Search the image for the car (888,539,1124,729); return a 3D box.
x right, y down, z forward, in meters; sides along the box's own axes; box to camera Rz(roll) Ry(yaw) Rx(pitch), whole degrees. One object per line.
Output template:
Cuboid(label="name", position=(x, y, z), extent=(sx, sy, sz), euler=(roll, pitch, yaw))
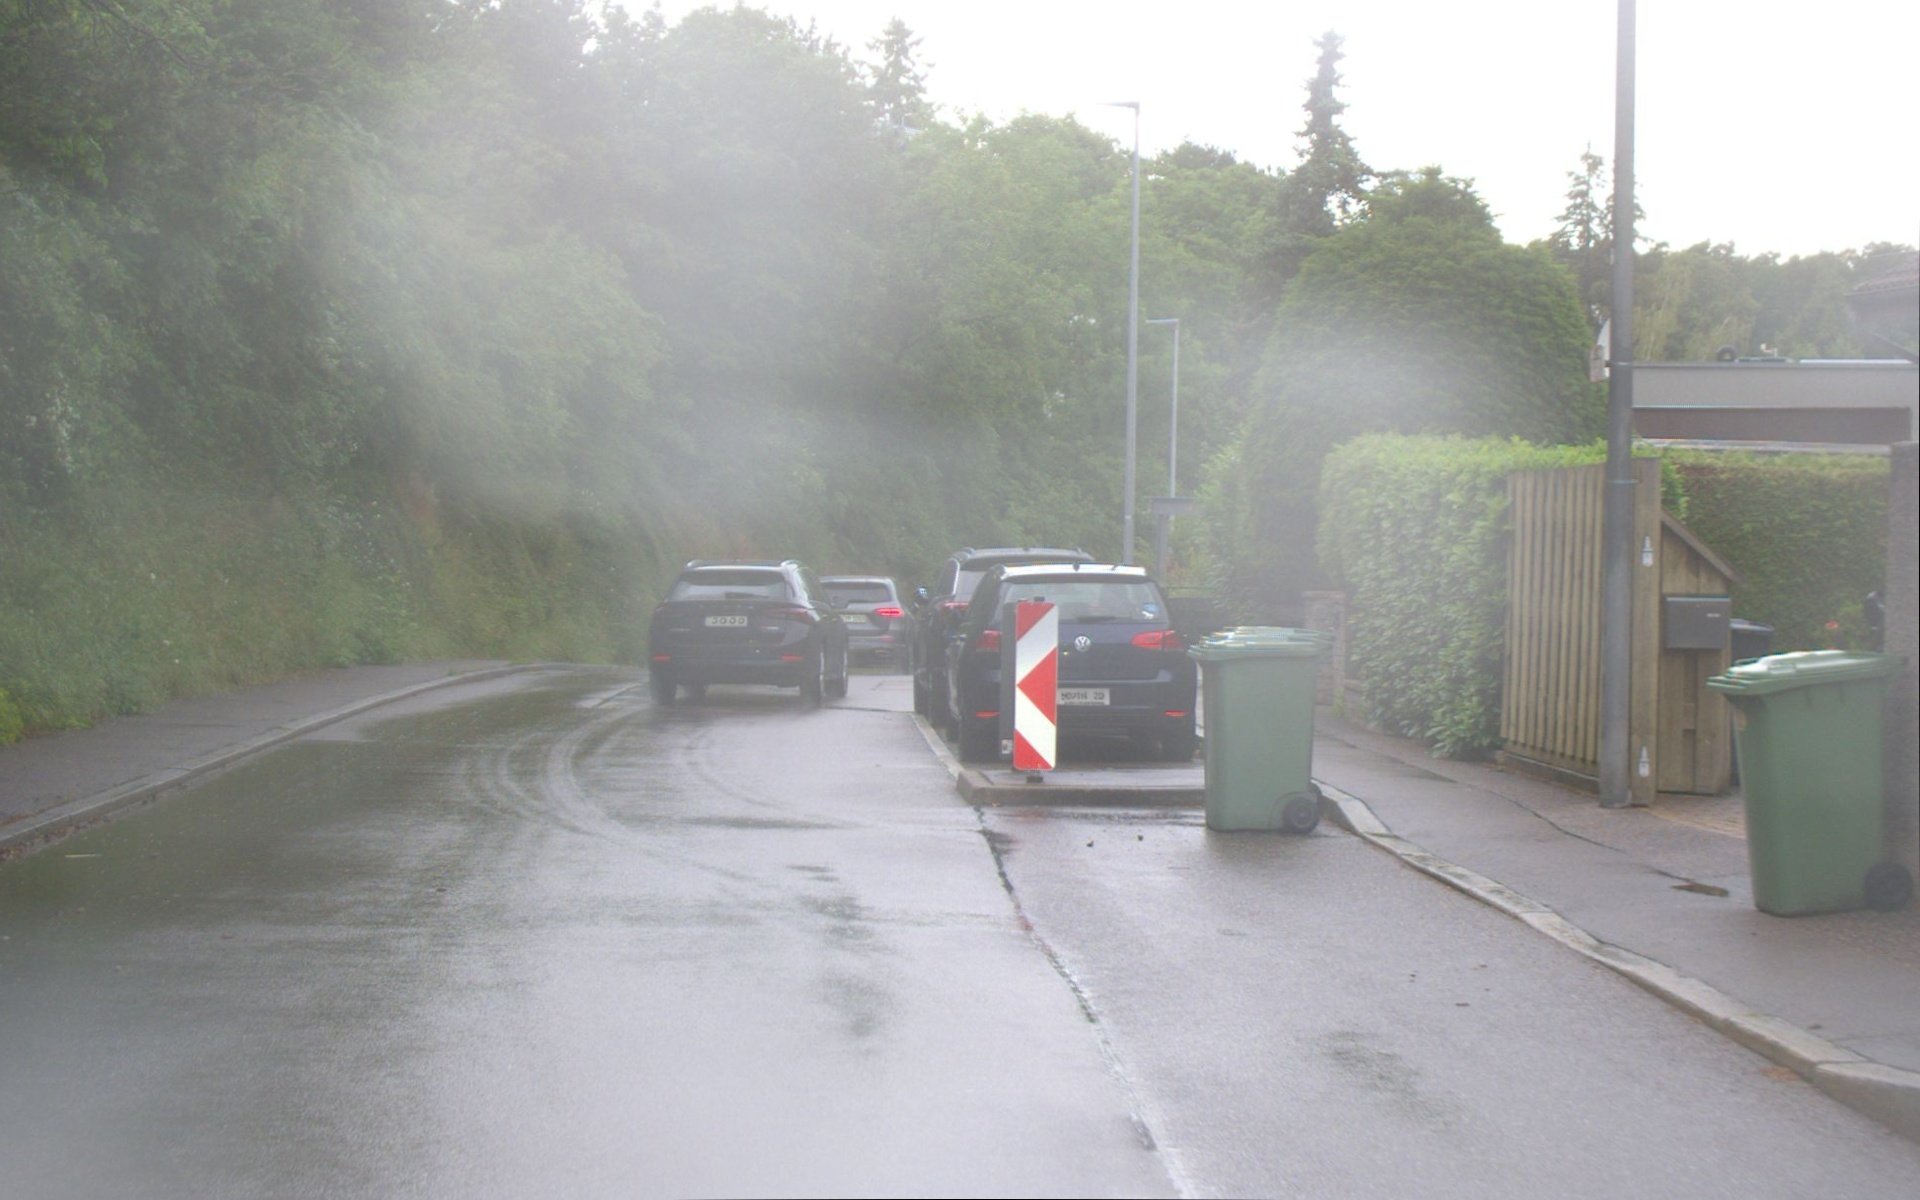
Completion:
Cuboid(label="car", position=(0.349, 0.255, 31.691), extent=(1.875, 1.586, 4.480), euler=(1, 1, -3))

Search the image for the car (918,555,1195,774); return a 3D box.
Cuboid(label="car", position=(0.654, 0.424, 26.269), extent=(1.755, 1.457, 4.301), euler=(2, 1, -3))

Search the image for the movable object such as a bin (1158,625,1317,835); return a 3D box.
Cuboid(label="movable object such as a bin", position=(1.511, 0.700, 18.785), extent=(0.715, 1.092, 0.656), euler=(2, 1, -7))

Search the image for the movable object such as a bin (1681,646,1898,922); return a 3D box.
Cuboid(label="movable object such as a bin", position=(3.420, 0.748, 14.213), extent=(0.739, 1.085, 0.600), euler=(-1, 1, 0))

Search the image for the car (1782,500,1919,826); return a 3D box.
Cuboid(label="car", position=(6.131, 0.420, 20.545), extent=(1.995, 1.714, 4.405), euler=(4, 0, 17))

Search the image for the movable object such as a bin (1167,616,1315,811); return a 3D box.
Cuboid(label="movable object such as a bin", position=(1.625, 0.648, 19.938), extent=(0.729, 1.075, 0.661), euler=(2, 1, -4))

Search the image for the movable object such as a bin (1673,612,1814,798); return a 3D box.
Cuboid(label="movable object such as a bin", position=(4.966, 0.660, 21.763), extent=(0.748, 1.100, 0.819), euler=(4, 0, 17))

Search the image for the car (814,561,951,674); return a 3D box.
Cuboid(label="car", position=(-1.172, 0.232, 53.845), extent=(1.993, 1.600, 4.409), euler=(2, 1, 0))

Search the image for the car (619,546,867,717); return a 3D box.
Cuboid(label="car", position=(-2.183, 0.370, 35.700), extent=(1.869, 1.507, 4.091), euler=(3, -3, 6))
